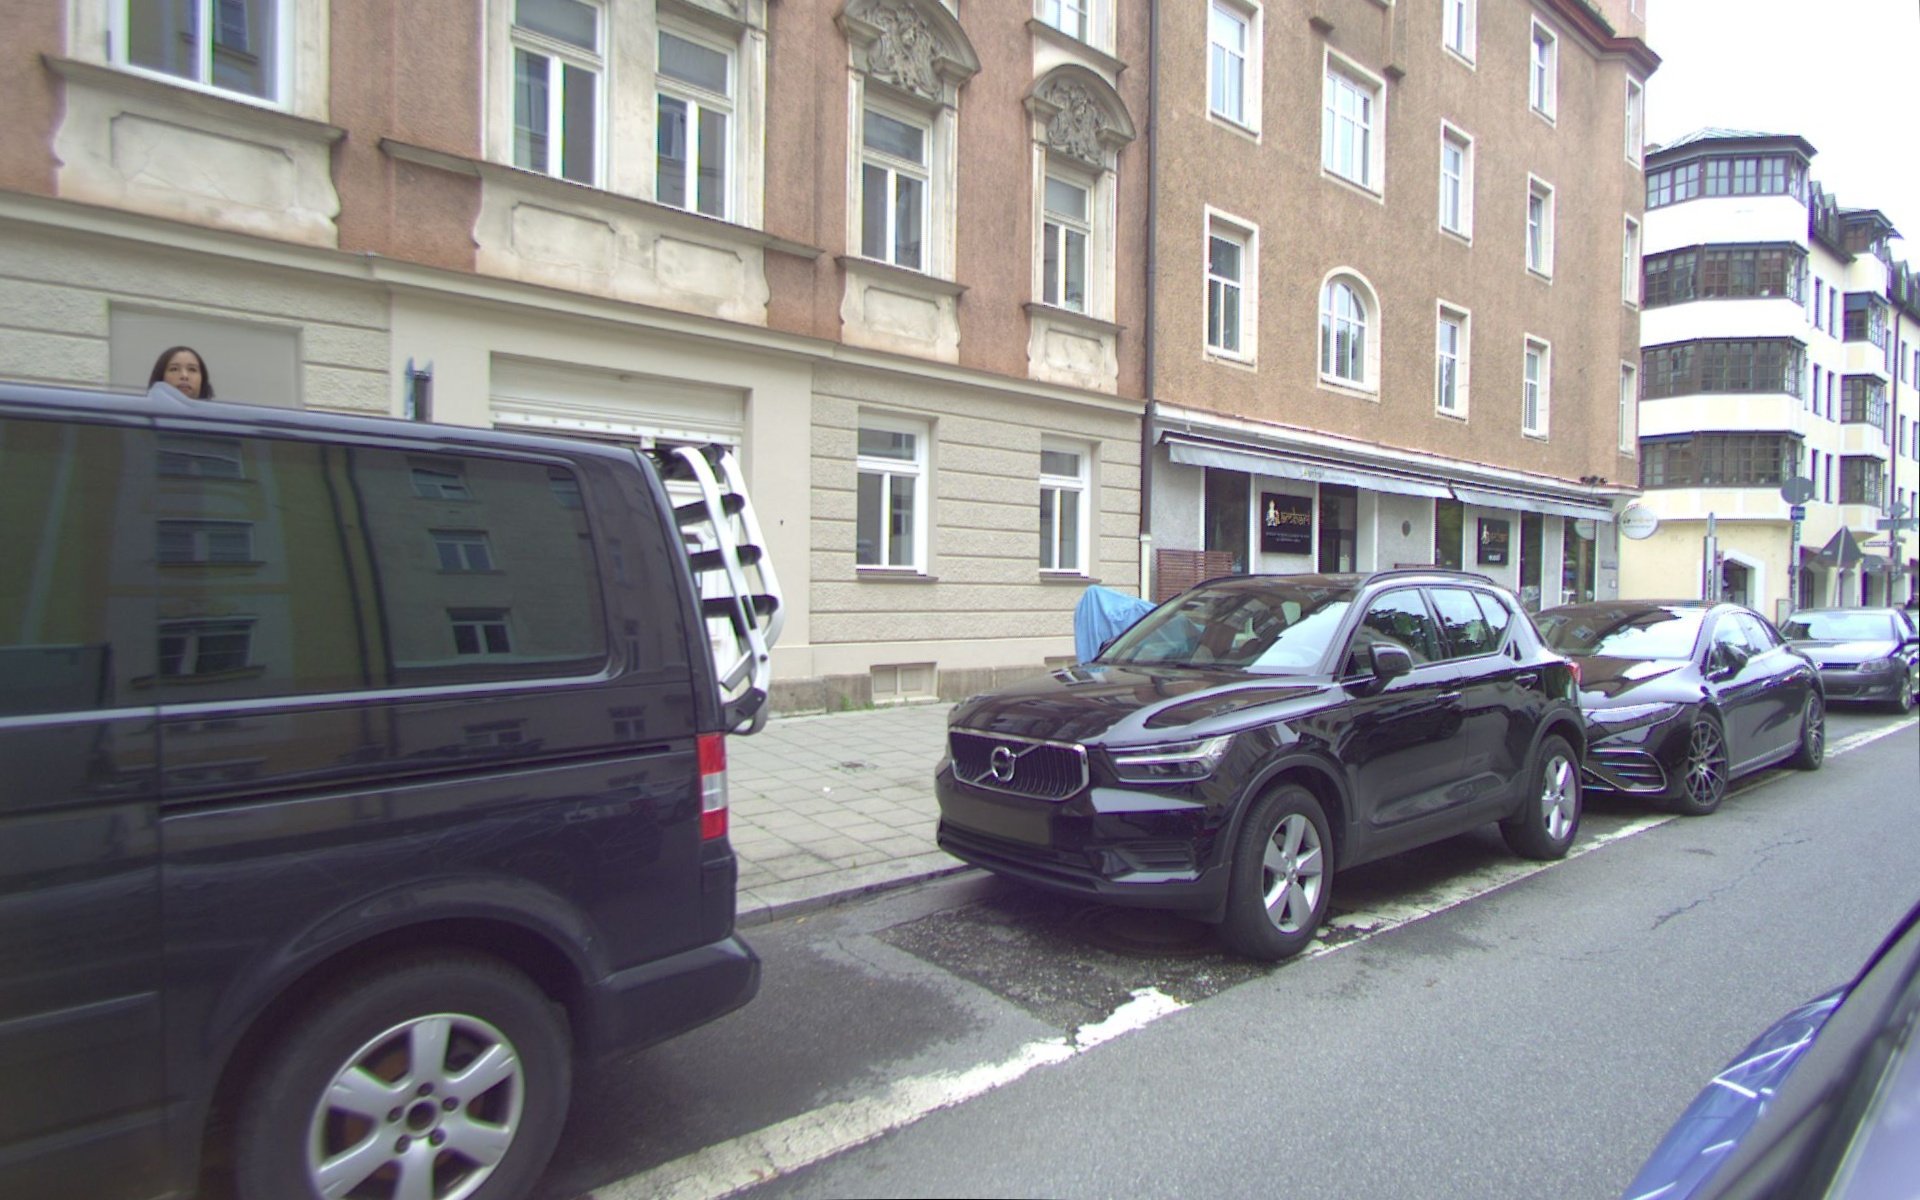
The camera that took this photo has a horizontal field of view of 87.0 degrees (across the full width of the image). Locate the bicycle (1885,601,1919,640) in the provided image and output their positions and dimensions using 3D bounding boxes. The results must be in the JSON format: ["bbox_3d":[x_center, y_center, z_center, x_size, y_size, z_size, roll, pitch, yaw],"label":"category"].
[{"bbox_3d":[30.271,0.650,32.501,2.015,1.173,0.431,-1,2,-37],"label":"bicycle"}]

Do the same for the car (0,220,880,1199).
[{"bbox_3d":[-2.867,0.384,1.983,5.048,1.944,2.088,-3,2,-38],"label":"car"}]

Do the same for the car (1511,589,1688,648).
[{"bbox_3d":[18.250,0.465,29.020,1.857,1.506,3.884,0,2,-37],"label":"car"}]

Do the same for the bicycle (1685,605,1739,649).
[{"bbox_3d":[18.559,0.662,24.965,1.768,1.017,0.497,2,2,-36],"label":"bicycle"}]

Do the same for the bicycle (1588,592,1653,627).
[{"bbox_3d":[24.026,0.336,36.833,0.506,1.201,1.906,1,1,-37],"label":"bicycle"}]

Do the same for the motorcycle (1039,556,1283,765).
[{"bbox_3d":[1.677,0.432,8.314,1.960,1.523,0.874,0,1,-37],"label":"motorcycle"}]

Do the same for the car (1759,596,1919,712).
[{"bbox_3d":[13.215,0.678,14.797,4.108,1.412,1.576,-1,2,-40],"label":"car"}]

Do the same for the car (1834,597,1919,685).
[{"bbox_3d":[17.424,0.662,18.114,4.701,1.422,1.851,0,1,-38],"label":"car"}]

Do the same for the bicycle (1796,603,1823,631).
[{"bbox_3d":[30.226,0.595,36.000,1.663,0.912,0.263,-1,6,-36],"label":"bicycle"}]

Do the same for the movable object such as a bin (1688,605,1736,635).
[{"bbox_3d":[24.699,0.639,33.247,0.671,0.911,1.126,0,2,-37],"label":"movable object such as a bin"}]

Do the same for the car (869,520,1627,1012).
[{"bbox_3d":[1.801,0.576,5.510,4.327,1.698,1.697,-1,-2,-38],"label":"car"}]

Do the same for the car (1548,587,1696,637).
[{"bbox_3d":[22.084,0.380,33.881,1.717,1.458,3.749,3,0,-34],"label":"car"}]

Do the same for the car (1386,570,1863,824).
[{"bbox_3d":[6.016,0.593,8.796,5.536,1.572,1.935,0,0,-40],"label":"car"}]
